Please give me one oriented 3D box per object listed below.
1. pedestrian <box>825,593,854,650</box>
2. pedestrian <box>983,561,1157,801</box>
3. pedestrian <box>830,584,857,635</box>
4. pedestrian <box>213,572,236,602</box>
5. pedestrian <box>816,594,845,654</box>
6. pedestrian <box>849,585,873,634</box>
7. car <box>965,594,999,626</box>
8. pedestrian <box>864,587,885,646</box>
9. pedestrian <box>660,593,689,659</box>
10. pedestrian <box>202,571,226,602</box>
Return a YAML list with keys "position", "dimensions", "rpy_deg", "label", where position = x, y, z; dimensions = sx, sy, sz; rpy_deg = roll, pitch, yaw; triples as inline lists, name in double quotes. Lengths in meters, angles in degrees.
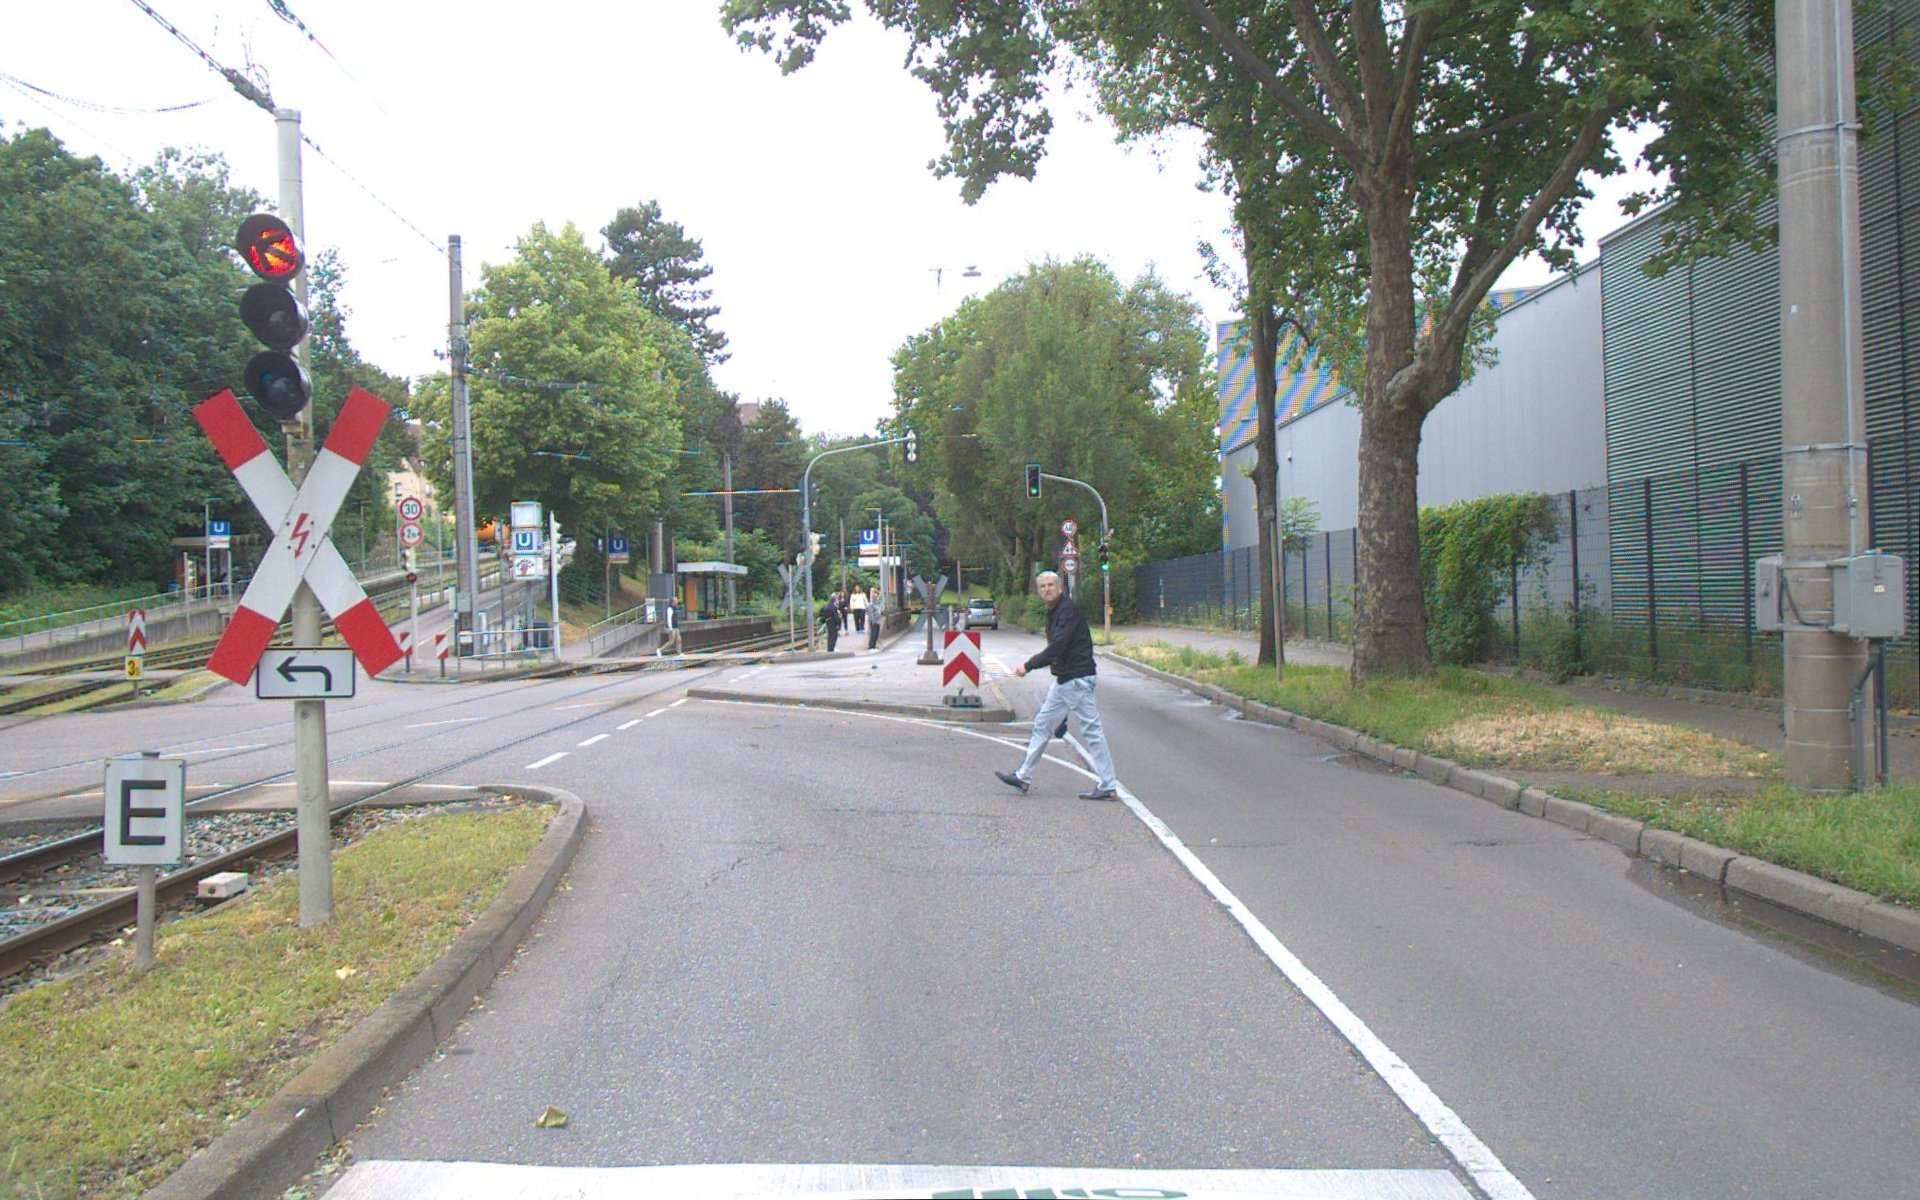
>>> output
- position: [-3.620, 0.640, 49.737]
  dimensions: [0.665, 1.694, 0.738]
  rpy_deg: [1, -1, 14]
  label: "pedestrian"
- position: [0.856, 0.612, 12.945]
  dimensions: [1.103, 1.791, 0.807]
  rpy_deg: [1, 0, -25]
  label: "pedestrian"
- position: [-3.950, 0.321, 56.144]
  dimensions: [0.725, 1.694, 0.677]
  rpy_deg: [1, -1, -23]
  label: "pedestrian"
- position: [-33.539, -0.580, 75.440]
  dimensions: [0.757, 1.349, 0.785]
  rpy_deg: [1, 0, -9]
  label: "pedestrian"
- position: [-3.668, 0.673, 46.957]
  dimensions: [0.720, 1.694, 0.682]
  rpy_deg: [1, -1, 1]
  label: "pedestrian"
- position: [-3.398, 0.326, 56.908]
  dimensions: [0.722, 1.694, 0.680]
  rpy_deg: [1, -1, -11]
  label: "pedestrian"
- position: [1.153, 0.530, 88.227]
  dimensions: [1.708, 1.627, 3.999]
  rpy_deg: [1, -1, -1]
  label: "car"
- position: [-2.629, 0.506, 50.734]
  dimensions: [0.538, 1.789, 0.738]
  rpy_deg: [1, -1, 4]
  label: "pedestrian"
- position: [-8.192, 0.746, 47.438]
  dimensions: [0.788, 1.853, 0.668]
  rpy_deg: [1, -1, -12]
  label: "pedestrian"
- position: [-33.526, -0.607, 74.323]
  dimensions: [0.757, 1.349, 0.786]
  rpy_deg: [1, 2, -9]
  label: "pedestrian"
